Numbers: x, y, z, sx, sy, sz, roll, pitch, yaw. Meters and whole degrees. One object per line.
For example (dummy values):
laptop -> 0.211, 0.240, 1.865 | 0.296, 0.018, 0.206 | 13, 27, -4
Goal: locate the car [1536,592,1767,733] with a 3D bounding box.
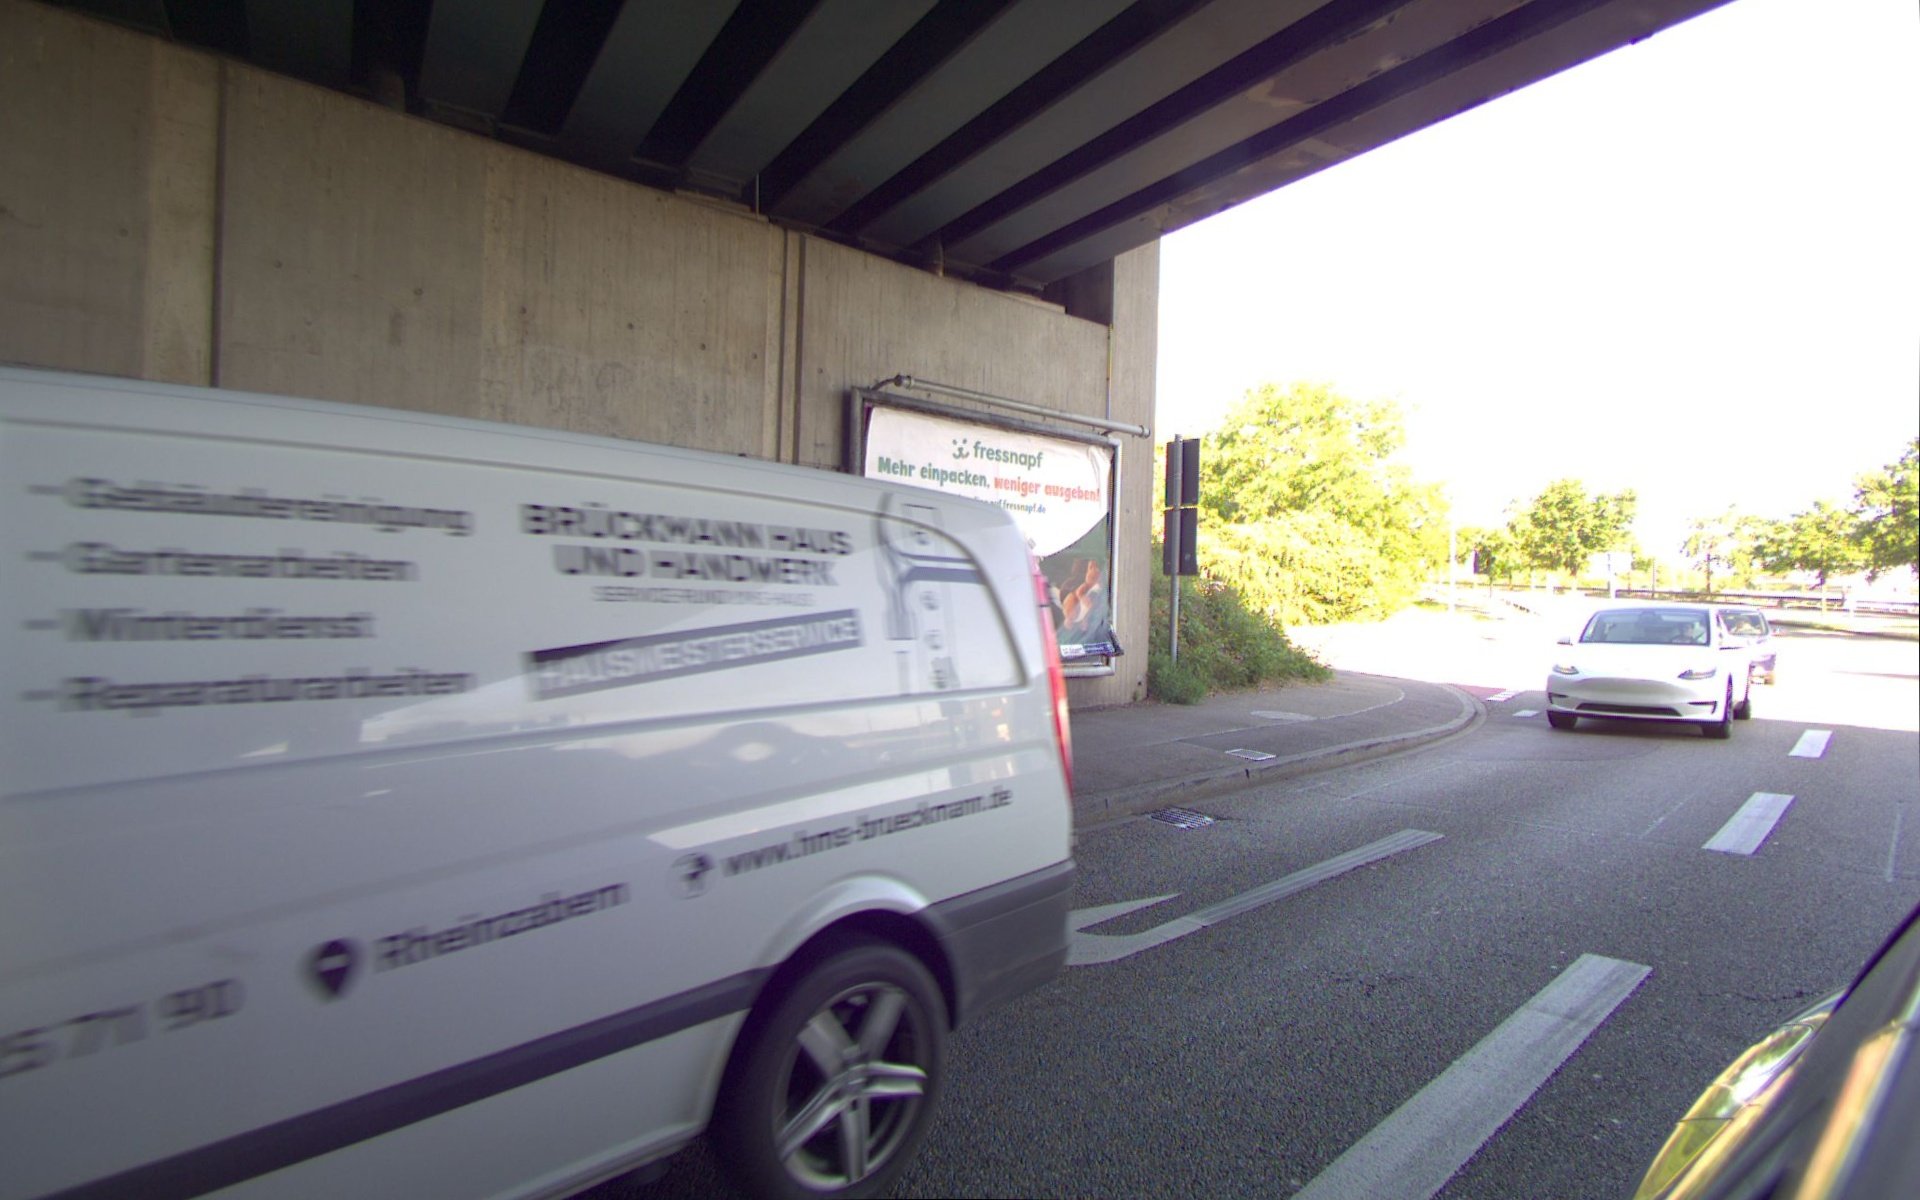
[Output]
car -> 9.443, 0.695, 13.669 | 1.992, 1.571, 4.353 | -1, 0, 42

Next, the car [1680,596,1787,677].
car -> 17.427, 0.739, 22.790 | 1.771, 1.621, 4.048 | 0, 0, 38

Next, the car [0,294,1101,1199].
car -> -1.904, 0.509, 2.112 | 4.756, 1.859, 1.898 | 0, 0, -45
